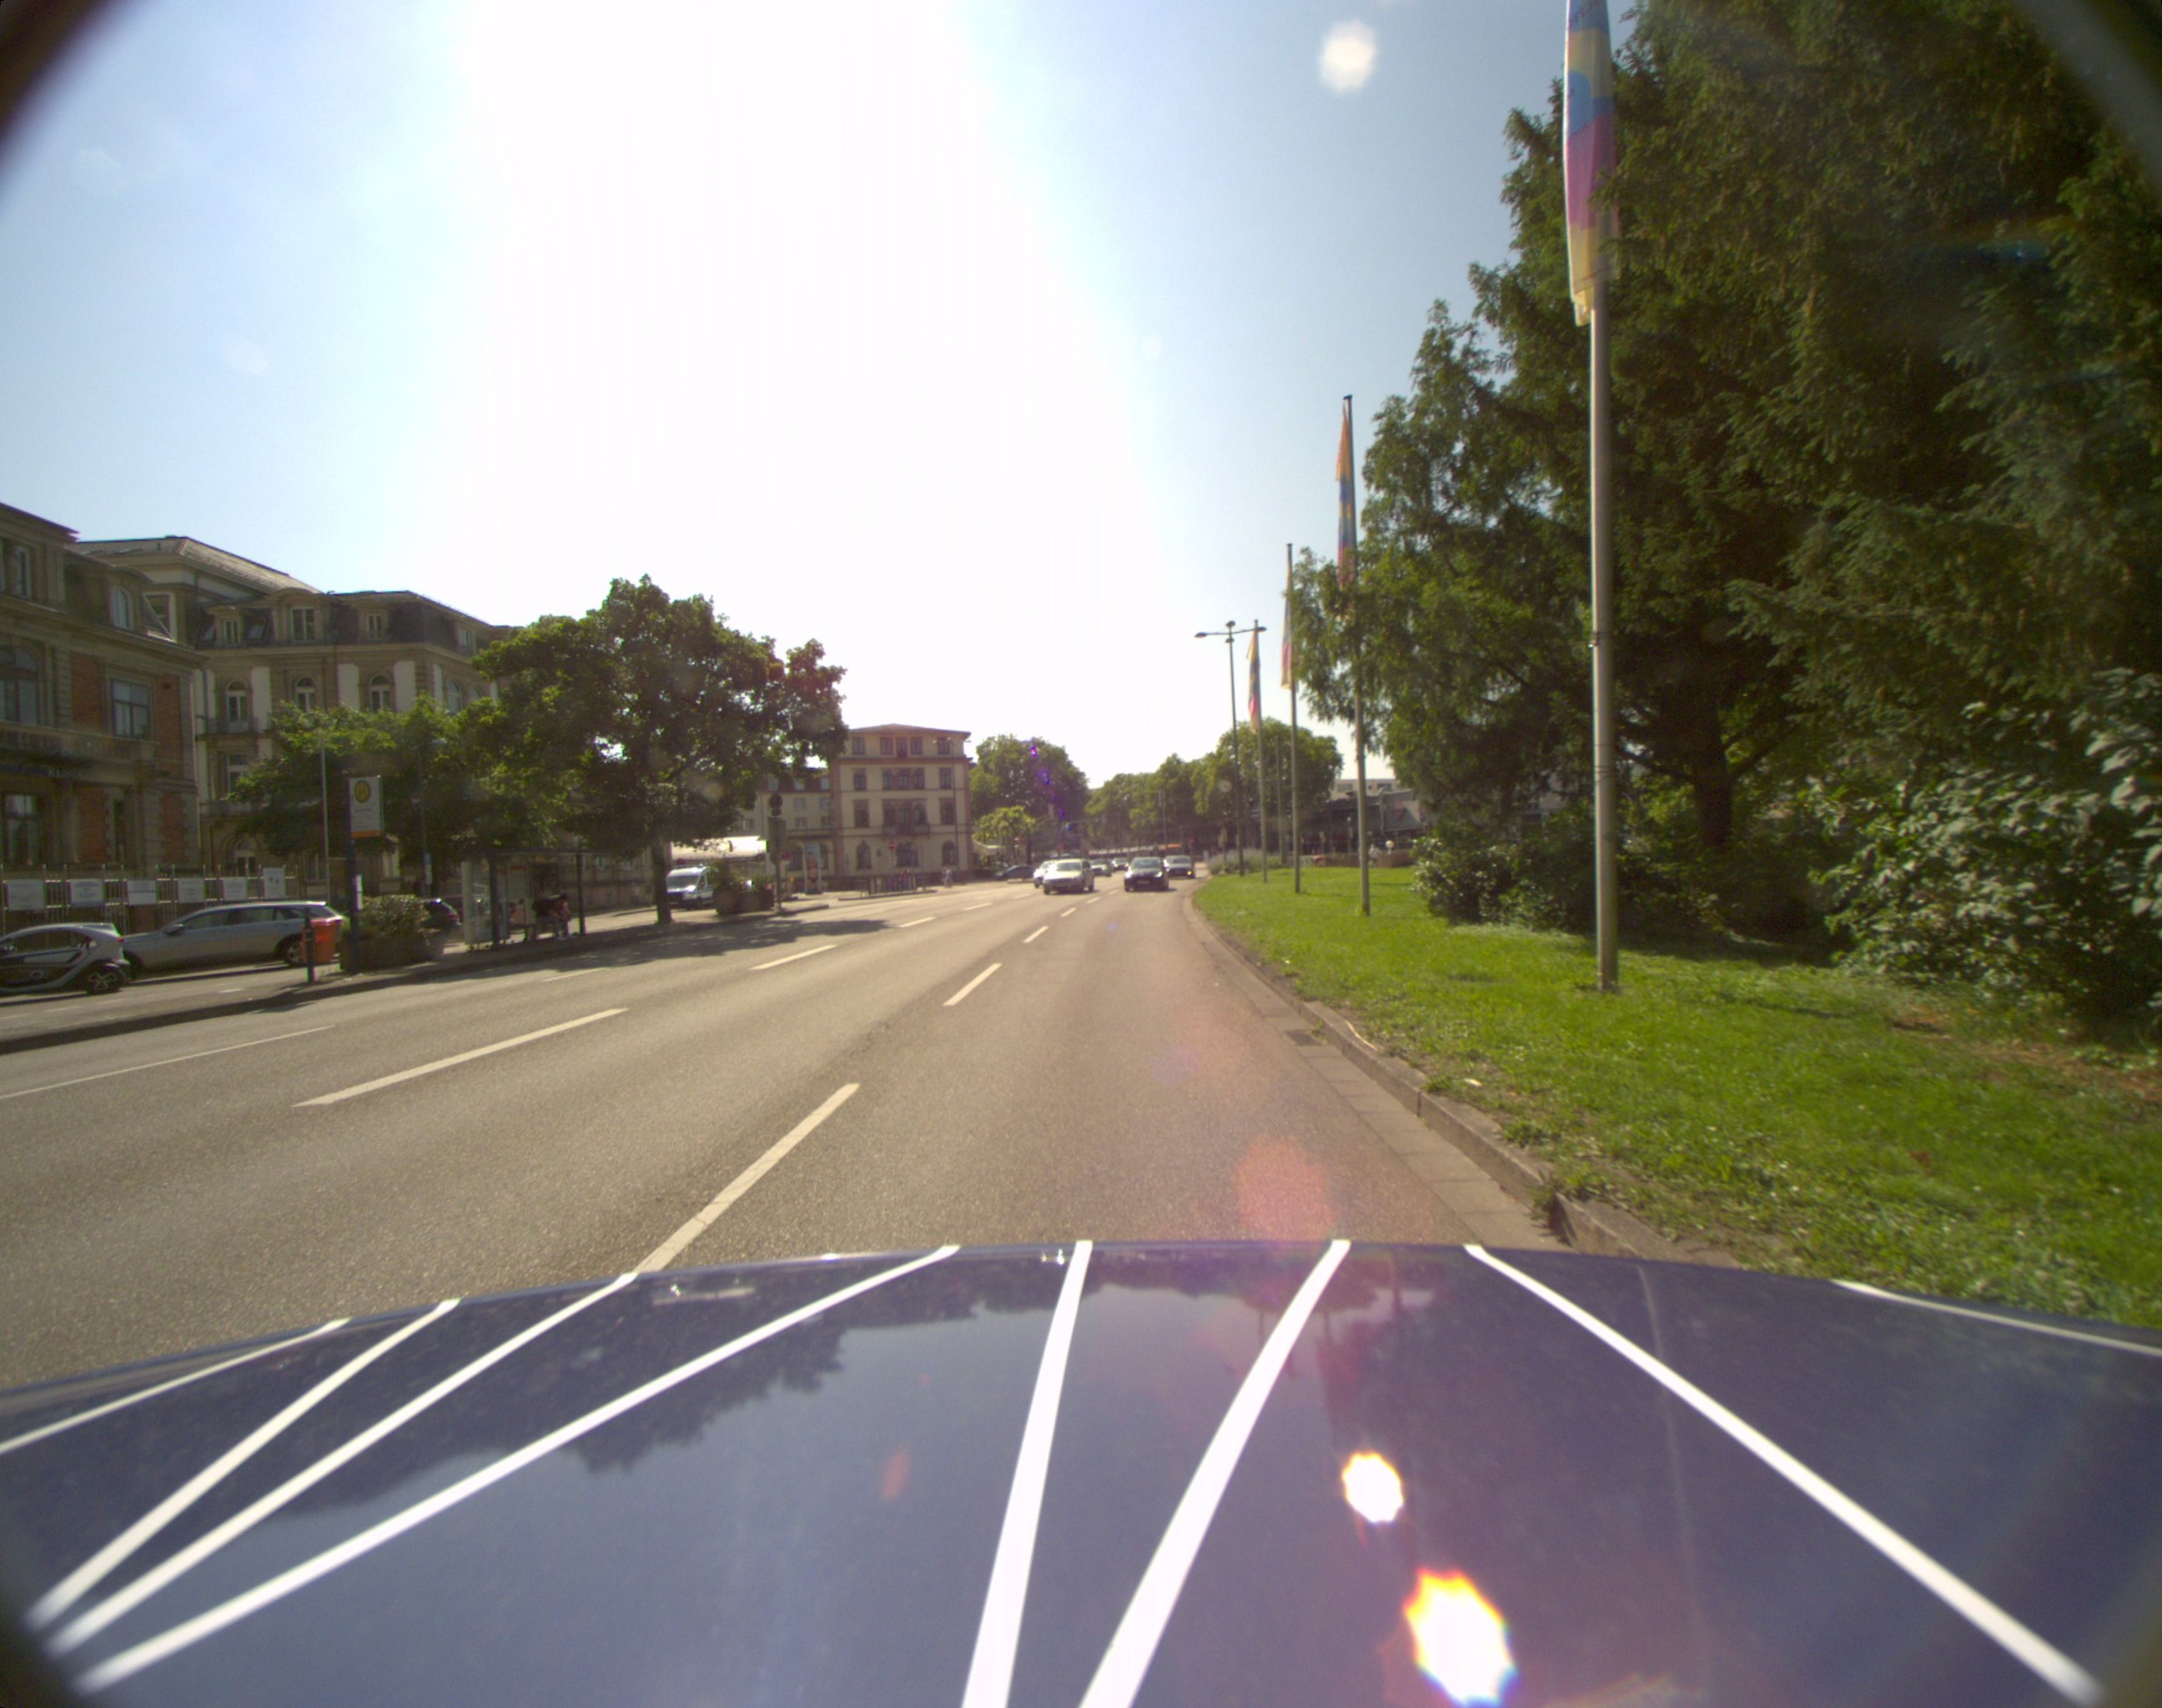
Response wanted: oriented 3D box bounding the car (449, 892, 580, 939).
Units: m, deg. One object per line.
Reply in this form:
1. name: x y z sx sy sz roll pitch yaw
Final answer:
1. car: -21.432 2.284 28.805 3.707 1.410 1.745 -3 0 -45

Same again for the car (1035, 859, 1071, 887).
1. car: -1.563 1.063 43.412 1.791 1.443 3.974 -1 0 1

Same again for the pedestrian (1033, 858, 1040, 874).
1. pedestrian: -4.704 1.267 80.731 0.535 1.639 0.579 -3 0 -15

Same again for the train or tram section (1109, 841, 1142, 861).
1. train or tram section: 7.831 -0.416 135.832 2.737 3.248 8.724 -3 0 -18

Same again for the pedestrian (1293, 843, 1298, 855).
1. pedestrian: 28.883 -0.638 102.155 0.564 1.628 0.601 -2 1 23

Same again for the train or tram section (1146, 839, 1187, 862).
1. train or tram section: 13.307 -0.514 119.286 2.737 3.248 8.724 -3 0 -18

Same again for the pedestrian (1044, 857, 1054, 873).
1. pedestrian: -3.449 1.203 82.198 0.845 1.685 0.744 -3 0 -19

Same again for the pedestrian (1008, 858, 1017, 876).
1. pedestrian: -7.194 1.379 79.696 0.726 1.795 0.652 -3 0 -11

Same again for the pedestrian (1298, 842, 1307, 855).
1. pedestrian: 29.031 -0.720 99.722 0.824 1.796 0.670 -2 1 -17

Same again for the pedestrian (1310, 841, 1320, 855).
1. pedestrian: 30.244 -0.776 98.202 0.824 1.825 0.670 -2 1 -19

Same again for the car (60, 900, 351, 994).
1. car: -20.529 2.078 18.091 1.709 1.620 4.324 -3 0 41

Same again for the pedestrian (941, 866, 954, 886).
1. pedestrian: -10.796 1.757 61.556 0.773 1.563 0.829 -3 0 2

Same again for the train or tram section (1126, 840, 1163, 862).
1. train or tram section: 10.570 -0.465 127.539 2.737 3.248 8.724 -3 0 -18

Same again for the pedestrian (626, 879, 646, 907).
1. pedestrian: -28.237 2.455 48.249 0.821 1.730 0.750 -3 0 -10

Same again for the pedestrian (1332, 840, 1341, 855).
1. pedestrian: 32.917 -0.860 97.846 0.824 1.825 0.670 -2 1 -18

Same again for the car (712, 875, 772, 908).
1. car: -19.485 2.083 43.884 1.822 1.617 4.876 -3 0 -8

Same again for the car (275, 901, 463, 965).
1. car: -20.616 2.219 22.154 3.828 1.409 1.601 -3 0 -45

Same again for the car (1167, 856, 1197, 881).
1. car: 6.530 0.876 48.890 1.790 1.484 4.091 -1 0 8

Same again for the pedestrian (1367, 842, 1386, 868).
1. pedestrian: 17.863 0.080 45.961 0.851 1.501 0.475 -3 0 -5

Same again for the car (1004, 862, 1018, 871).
1. car: -11.092 2.040 120.137 1.591 1.314 3.576 -3 0 -13

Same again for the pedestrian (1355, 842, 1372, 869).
1. pedestrian: 17.094 0.071 46.001 0.692 1.584 0.599 -3 0 -5

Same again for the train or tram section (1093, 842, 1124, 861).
1. train or tram section: 5.117 -0.368 144.133 2.737 3.248 8.724 -3 0 -18

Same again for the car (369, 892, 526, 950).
1. car: -21.385 2.197 25.723 3.885 1.566 1.745 -3 0 -45

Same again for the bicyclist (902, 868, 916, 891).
1. bicyclist: -12.262 1.823 54.249 0.592 1.597 0.685 -3 0 23

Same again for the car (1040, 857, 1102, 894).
1. car: -0.364 0.932 33.860 1.717 1.491 4.495 -2 -1 12

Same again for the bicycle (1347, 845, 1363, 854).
1. bicycle: 35.370 -0.565 98.057 1.970 1.096 0.576 -3 0 -14

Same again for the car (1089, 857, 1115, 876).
1. car: 1.774 1.005 62.705 1.790 1.503 4.282 -1 0 5

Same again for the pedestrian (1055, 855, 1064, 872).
1. pedestrian: -2.425 1.093 87.468 0.730 1.834 0.590 -3 0 -40

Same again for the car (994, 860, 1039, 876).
1. car: -6.161 1.335 72.653 3.977 1.443 1.789 -1 0 -18

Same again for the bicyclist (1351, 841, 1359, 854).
1. bicyclist: 35.359 -0.856 98.049 0.684 1.677 0.583 -3 0 -14

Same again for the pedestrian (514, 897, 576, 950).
1. pedestrian: -13.321 1.709 18.903 1.022 1.190 0.790 -3 0 -19

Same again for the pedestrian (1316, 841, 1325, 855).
1. pedestrian: 31.139 -0.804 98.723 0.824 1.825 0.670 -2 1 -19

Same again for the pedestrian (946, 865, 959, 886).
1. pedestrian: -10.210 1.687 60.491 0.753 1.650 0.829 -3 0 1

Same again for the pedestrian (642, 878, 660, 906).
1. pedestrian: -27.381 2.420 48.379 0.702 1.741 0.721 -3 0 -9

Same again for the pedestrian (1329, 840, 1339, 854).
1. pedestrian: 32.837 -0.868 98.613 0.824 1.825 0.734 -2 1 -18

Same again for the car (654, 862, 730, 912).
1. car: -22.044 1.787 43.336 2.000 2.588 5.315 -3 0 -7

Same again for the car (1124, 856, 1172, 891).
1. car: 3.111 0.850 34.435 1.789 1.443 4.284 -1 0 10

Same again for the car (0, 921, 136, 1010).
1. car: -20.142 2.155 14.639 1.198 1.474 2.293 -3 0 36

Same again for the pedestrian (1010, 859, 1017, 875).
1. pedestrian: -7.344 1.410 82.784 0.535 1.639 0.673 -3 0 -15
